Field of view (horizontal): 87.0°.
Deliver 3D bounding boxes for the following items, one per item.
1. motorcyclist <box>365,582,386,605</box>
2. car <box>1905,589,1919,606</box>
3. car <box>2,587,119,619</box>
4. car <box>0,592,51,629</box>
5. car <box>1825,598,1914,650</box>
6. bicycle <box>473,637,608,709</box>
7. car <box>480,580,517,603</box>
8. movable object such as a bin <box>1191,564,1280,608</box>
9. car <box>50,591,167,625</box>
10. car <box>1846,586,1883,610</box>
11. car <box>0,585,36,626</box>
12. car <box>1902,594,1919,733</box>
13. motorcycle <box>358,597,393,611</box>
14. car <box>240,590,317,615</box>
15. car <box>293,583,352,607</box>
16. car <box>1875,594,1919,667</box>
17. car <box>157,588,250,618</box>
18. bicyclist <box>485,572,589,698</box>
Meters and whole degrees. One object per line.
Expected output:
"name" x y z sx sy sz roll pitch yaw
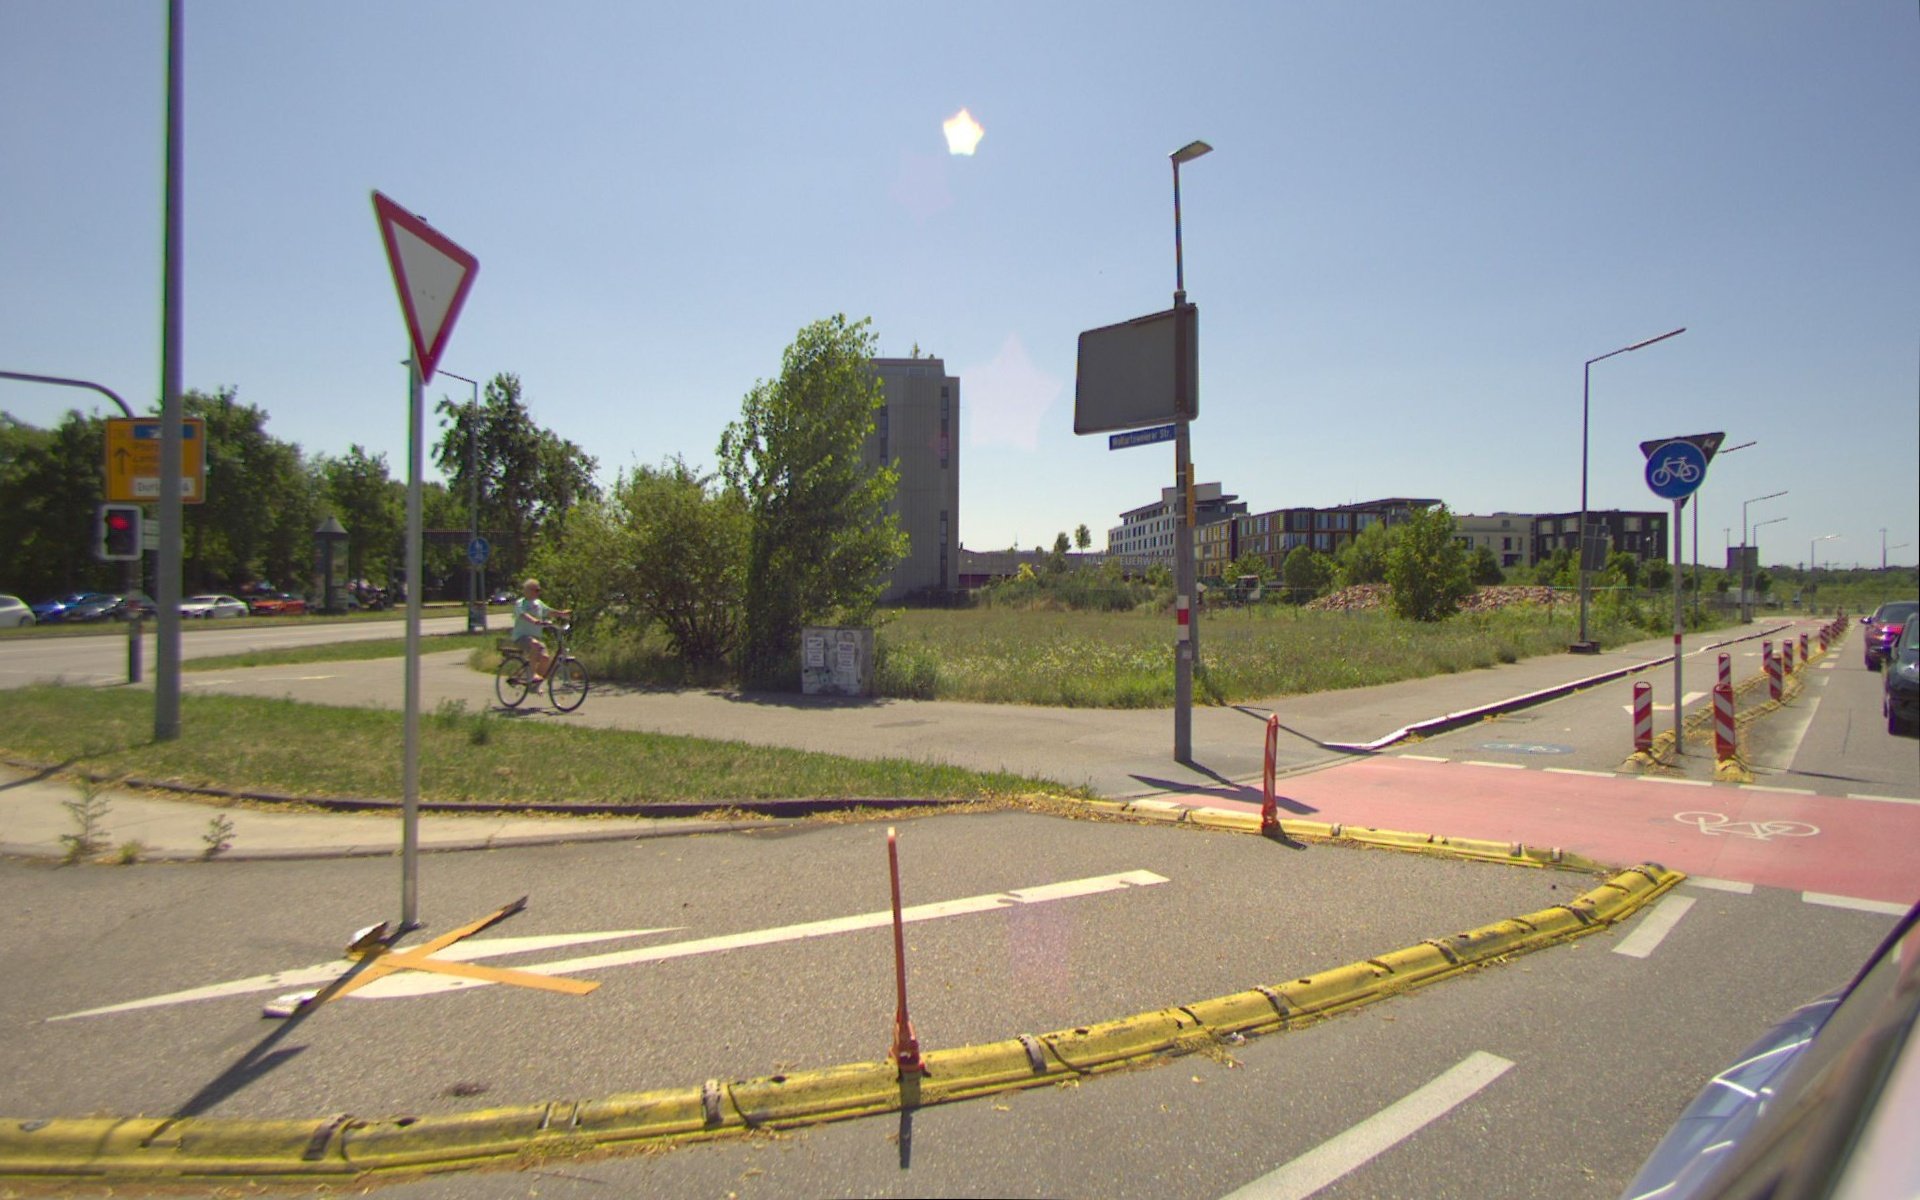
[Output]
"motorcyclist" -40.732 -0.447 70.555 0.891 1.606 1.010 -1 -1 -2
"car" 86.302 -0.219 90.961 1.752 1.564 3.640 1 0 41
"car" -42.237 0.140 47.678 1.827 1.440 4.412 0 0 -4
"car" -38.125 0.394 39.349 1.827 1.440 4.412 0 0 -4
"car" 27.226 0.674 30.313 1.857 1.447 3.939 -1 -1 42
"bicycle" -5.762 0.977 13.884 1.855 0.890 0.624 0 0 24
"car" -43.161 -0.784 94.688 1.960 2.039 4.004 -1 0 -6
"movable object such as a bin" 21.343 -1.065 78.131 7.470 3.189 2.811 -1 0 -40
"car" -38.638 0.333 46.081 1.827 1.440 4.412 0 0 -4
"car" 60.539 -0.130 67.809 1.752 1.564 3.640 1 0 41
"car" -41.040 0.235 41.865 1.827 1.704 4.412 0 0 -4
"car" 12.268 0.702 11.974 1.628 1.527 3.759 1 0 43
"motorcycle" -40.711 0.273 70.515 0.881 0.964 2.817 -1 0 -2
"car" -40.108 0.128 59.664 1.827 1.440 4.412 0 0 -4
"car" -40.631 -0.305 64.577 1.686 1.493 3.801 -1 0 -6
"car" 21.732 0.649 22.699 1.715 1.547 4.146 1 0 43
"car" -39.313 0.141 52.743 1.827 1.440 4.412 0 0 -4
"bicyclist" -5.849 0.457 14.007 1.150 1.661 0.742 1 0 24
